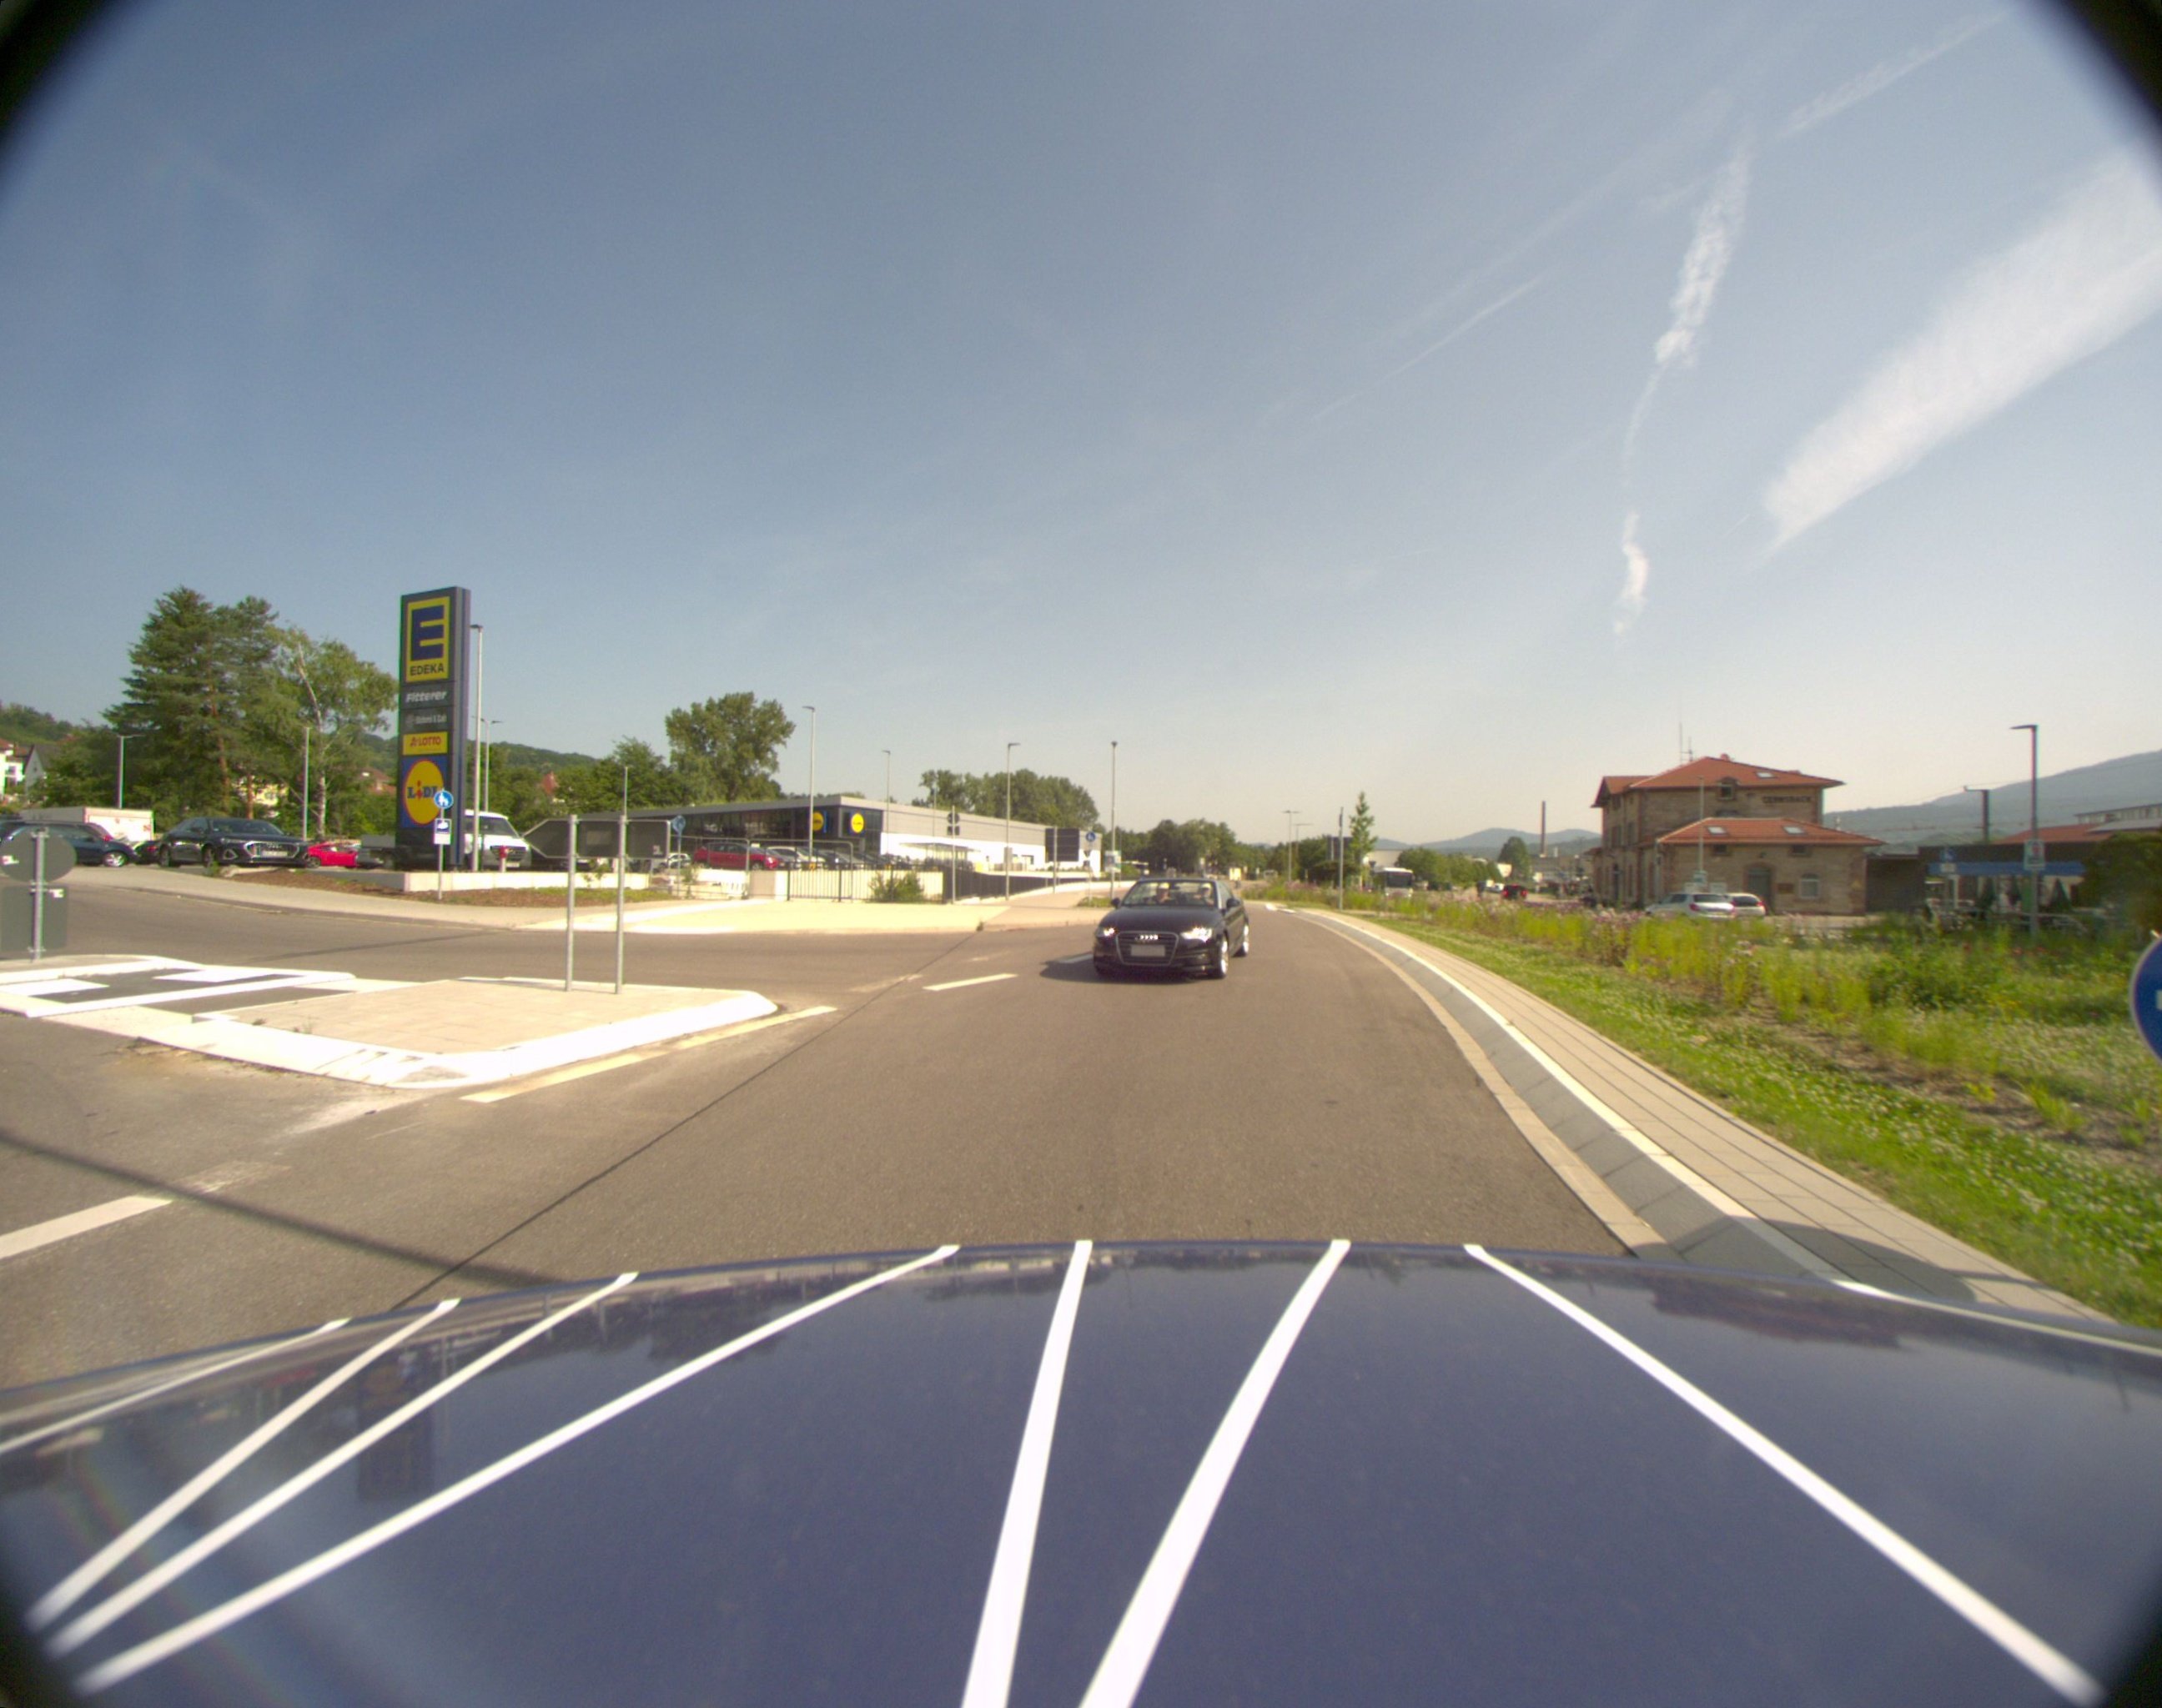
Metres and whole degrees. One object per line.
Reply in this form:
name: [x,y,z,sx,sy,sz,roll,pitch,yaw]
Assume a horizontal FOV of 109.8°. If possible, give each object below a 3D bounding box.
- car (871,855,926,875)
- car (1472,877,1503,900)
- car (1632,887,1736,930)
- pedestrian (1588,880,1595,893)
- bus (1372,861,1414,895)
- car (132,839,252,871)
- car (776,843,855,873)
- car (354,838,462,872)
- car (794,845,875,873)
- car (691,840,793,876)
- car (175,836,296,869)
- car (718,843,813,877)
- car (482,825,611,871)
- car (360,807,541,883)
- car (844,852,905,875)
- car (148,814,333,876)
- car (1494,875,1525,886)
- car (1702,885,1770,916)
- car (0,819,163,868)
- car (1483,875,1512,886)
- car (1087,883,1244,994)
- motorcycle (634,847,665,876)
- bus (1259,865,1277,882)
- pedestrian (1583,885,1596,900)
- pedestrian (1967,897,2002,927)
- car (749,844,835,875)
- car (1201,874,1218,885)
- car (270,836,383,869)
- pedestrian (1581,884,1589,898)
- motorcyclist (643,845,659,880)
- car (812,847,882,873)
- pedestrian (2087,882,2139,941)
car: [-15.116,0.910,62.961,4.129,1.564,1.704,-1,-1,-1]
car: [36.735,3.117,68.592,1.973,1.953,5.169,-2,-2,33]
car: [25.140,2.228,31.855,1.672,1.522,4.004,2,-1,10]
pedestrian: [45.665,2.870,67.962,0.371,1.155,0.507,-2,-1,25]
bus: [32.195,2.474,78.819,2.584,3.308,10.603,-2,-2,14]
car: [-47.598,0.093,40.774,1.760,1.564,3.793,-2,-2,17]
car: [-15.341,0.251,44.011,3.997,1.564,1.704,-1,-1,-1]
car: [-33.882,0.096,38.379,1.663,1.564,3.793,-2,-2,17]
car: [-15.090,0.324,46.623,4.413,1.564,1.704,-1,-1,-1]
car: [-15.989,0.200,35.960,4.018,1.564,1.780,-1,-1,2]
car: [-43.523,-0.041,39.238,1.760,1.564,3.793,-2,-2,17]
car: [-15.773,0.322,38.144,4.018,1.564,1.780,-1,-1,2]
car: [-20.667,-0.182,29.409,4.467,1.592,1.836,-2,-2,20]
car: [-22.237,-0.244,26.775,6.079,2.369,2.064,-2,-1,19]
car: [-15.151,0.701,55.916,3.997,1.564,1.704,-1,-1,-1]
car: [-23.942,-0.190,21.642,4.849,1.521,1.926,-2,-2,21]
car: [70.487,4.411,124.889,3.995,1.717,1.839,-1,-1,5]
car: [37.706,2.643,43.844,1.676,1.559,3.656,-2,0,19]
car: [-36.081,-0.315,27.159,1.760,1.564,3.793,-2,-2,17]
car: [71.050,4.541,129.652,3.995,1.717,1.839,-1,-1,5]
car: [1.477,1.127,11.611,1.719,1.314,4.230,-1,-2,16]
motorcycle: [-18.674,0.339,32.882,1.898,1.183,0.592,-2,-3,43]
bus: [36.572,3.741,148.437,2.864,3.172,9.132,-1,-1,18]
pedestrian: [41.432,3.136,61.870,0.789,1.155,0.507,-2,-1,25]
pedestrian: [35.852,2.304,30.150,0.558,1.157,0.681,-1,-1,2]
car: [-15.680,0.315,41.296,3.997,1.564,1.704,-1,-1,-1]
car: [17.692,3.533,104.454,1.780,1.389,4.002,-1,-2,2]
car: [-39.226,-0.027,39.600,1.760,1.564,3.793,-2,-2,17]
pedestrian: [42.523,3.140,64.098,0.511,1.155,0.507,-2,-1,25]
motorcyclist: [-18.896,0.365,33.370,0.515,1.533,0.581,-1,-1,-21]
car: [-15.116,0.403,49.275,3.997,1.564,1.704,-1,-1,-1]
pedestrian: [36.161,1.990,26.624,0.859,2.001,0.708,-1,-1,-10]
